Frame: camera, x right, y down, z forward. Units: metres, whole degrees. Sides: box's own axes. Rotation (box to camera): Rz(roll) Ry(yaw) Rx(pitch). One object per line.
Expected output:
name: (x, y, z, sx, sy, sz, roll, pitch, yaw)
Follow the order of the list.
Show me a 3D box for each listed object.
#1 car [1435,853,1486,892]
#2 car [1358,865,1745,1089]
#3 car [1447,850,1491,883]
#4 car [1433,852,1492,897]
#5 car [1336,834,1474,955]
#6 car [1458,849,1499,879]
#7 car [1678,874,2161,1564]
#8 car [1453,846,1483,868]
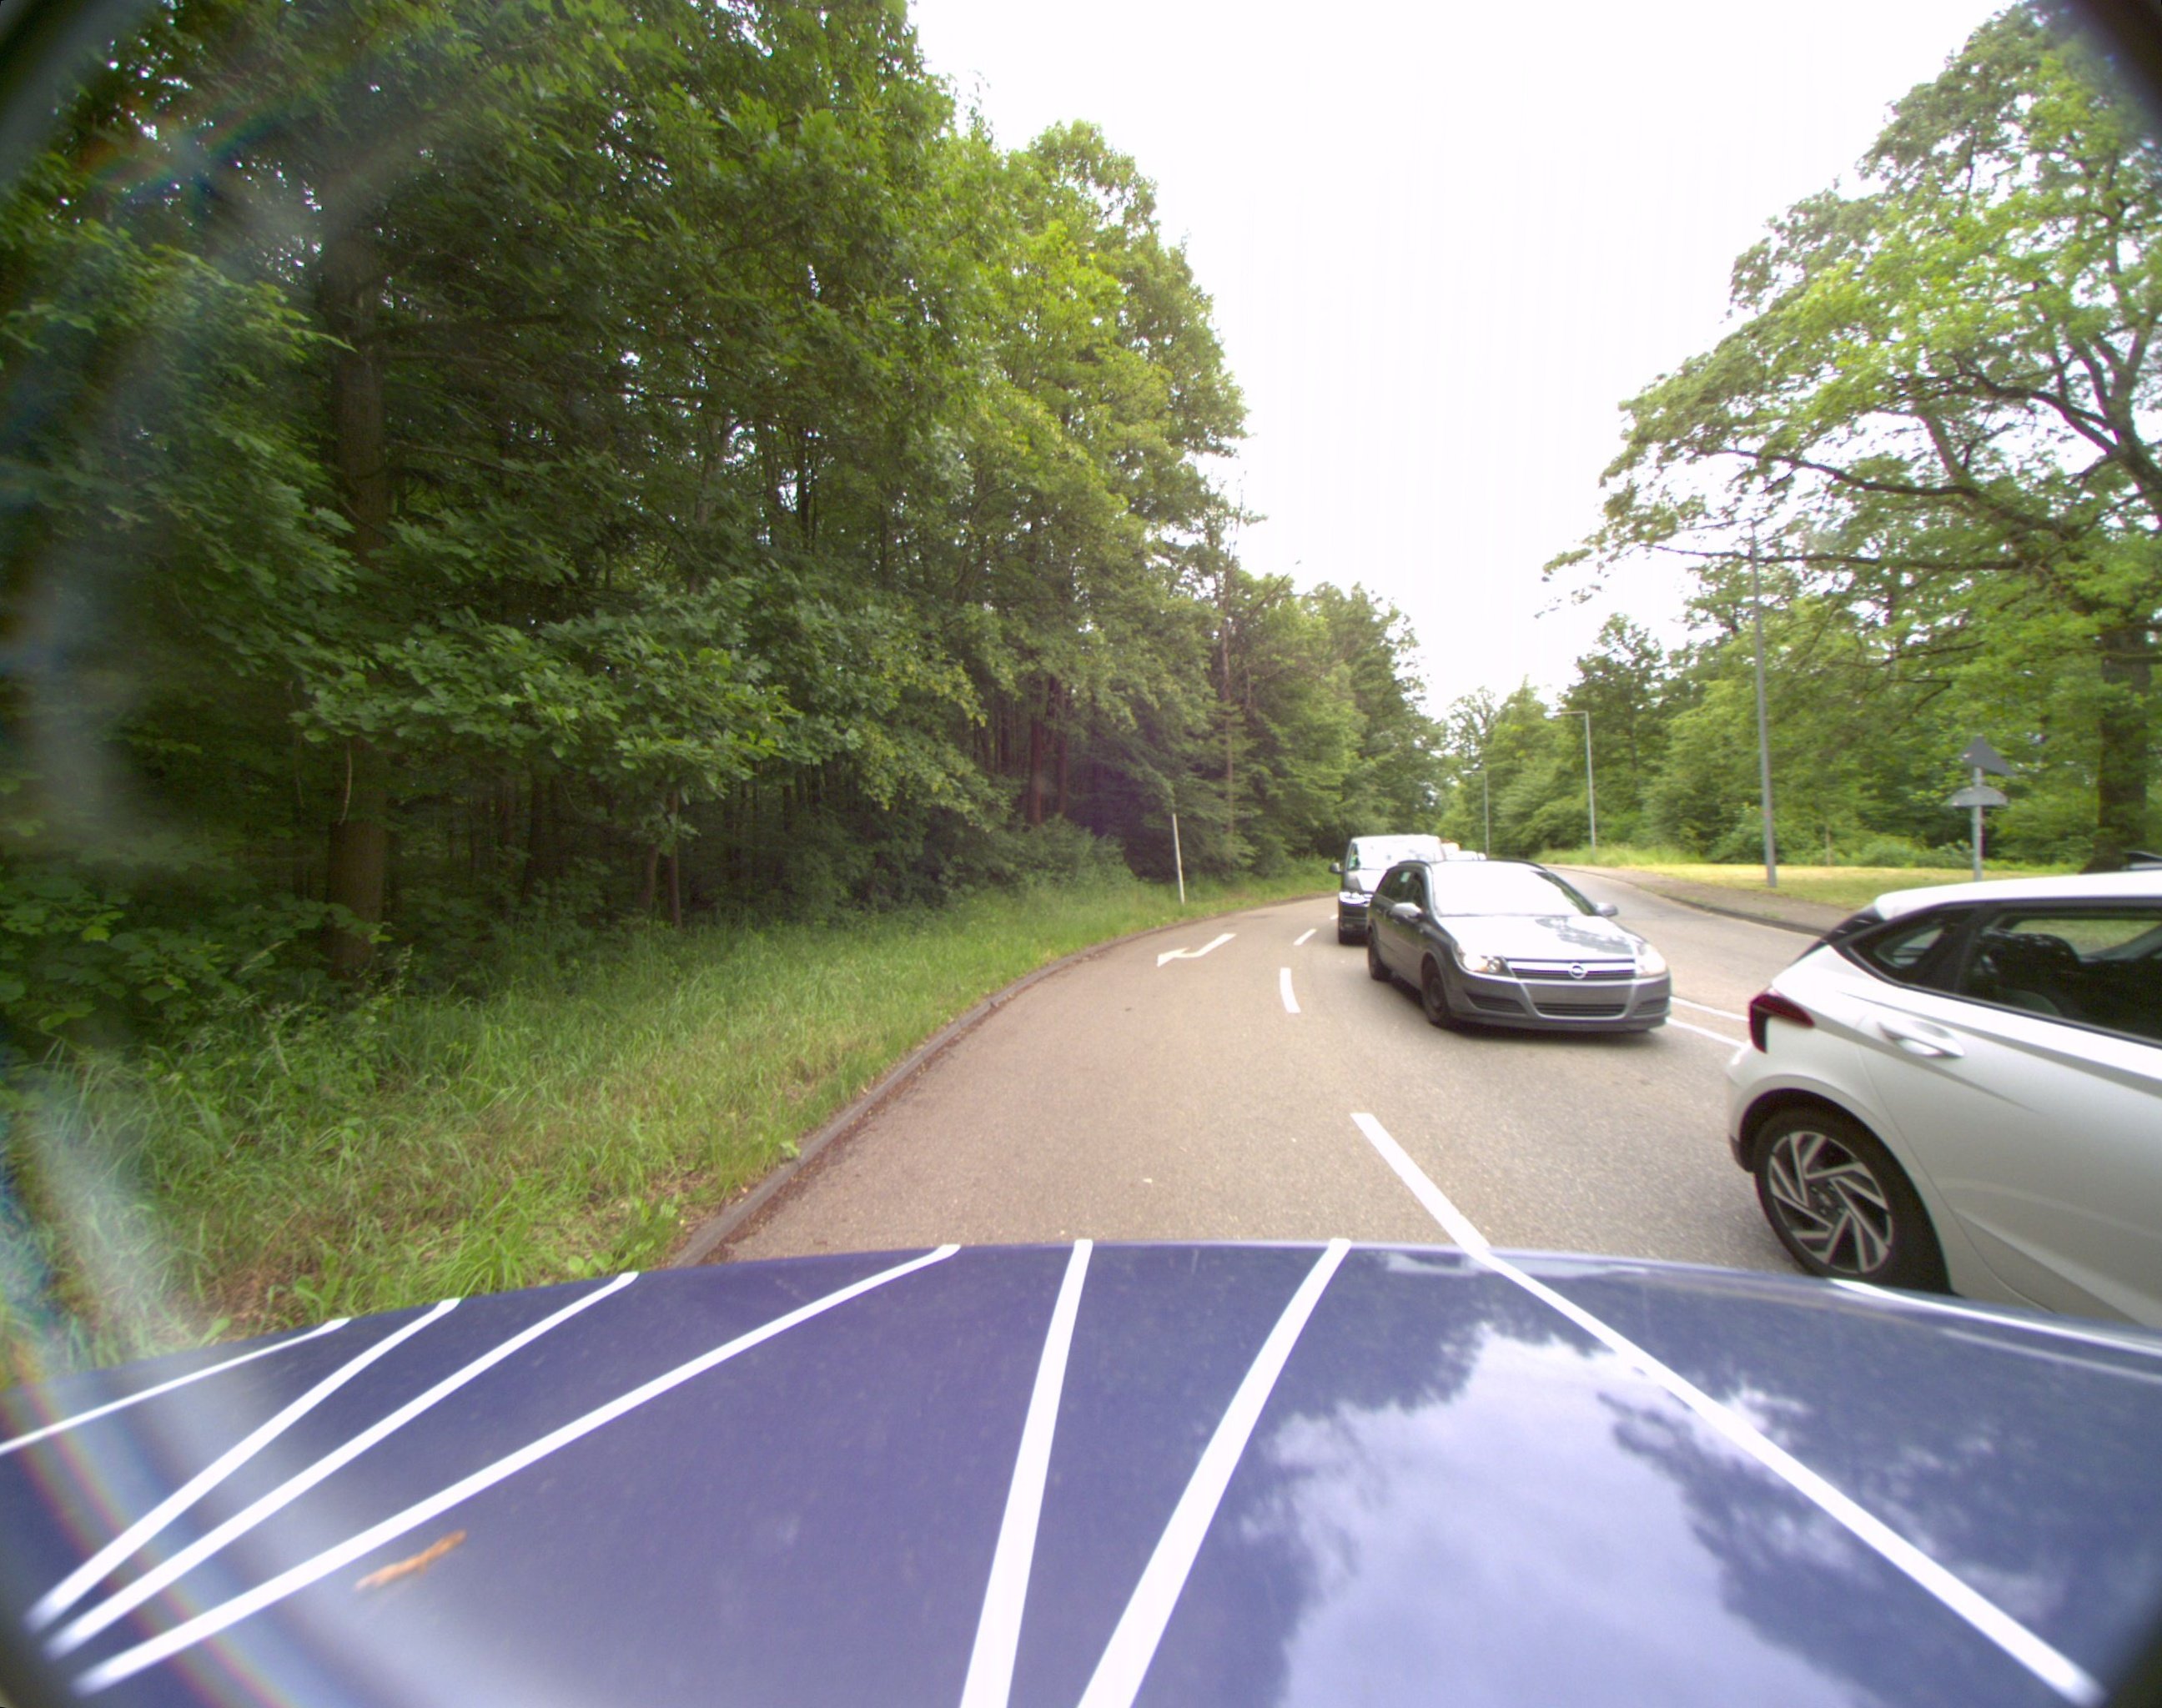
car: (15.573, 0.707, 31.267, 1.775, 1.491, 3.880, -1, 0, 26)
car: (4.065, 0.889, 7.531, 1.801, 1.470, 4.474, -1, 0, 11)
car: (18.764, 0.587, 36.870, 1.775, 1.491, 3.880, -1, 0, 26)
car: (13.681, 0.704, 27.362, 1.775, 1.491, 3.880, -1, 0, 26)
car: (5.945, 0.646, 14.191, 1.987, 1.861, 4.539, -1, 0, 21)
car: (21.468, 0.514, 41.138, 1.775, 1.491, 3.880, -1, 0, 26)
car: (3.177, 0.824, 1.058, 1.653, 1.470, 4.074, -1, 0, 3)
car: (27.684, 0.192, 54.292, 1.775, 1.491, 3.880, -1, 0, 29)
